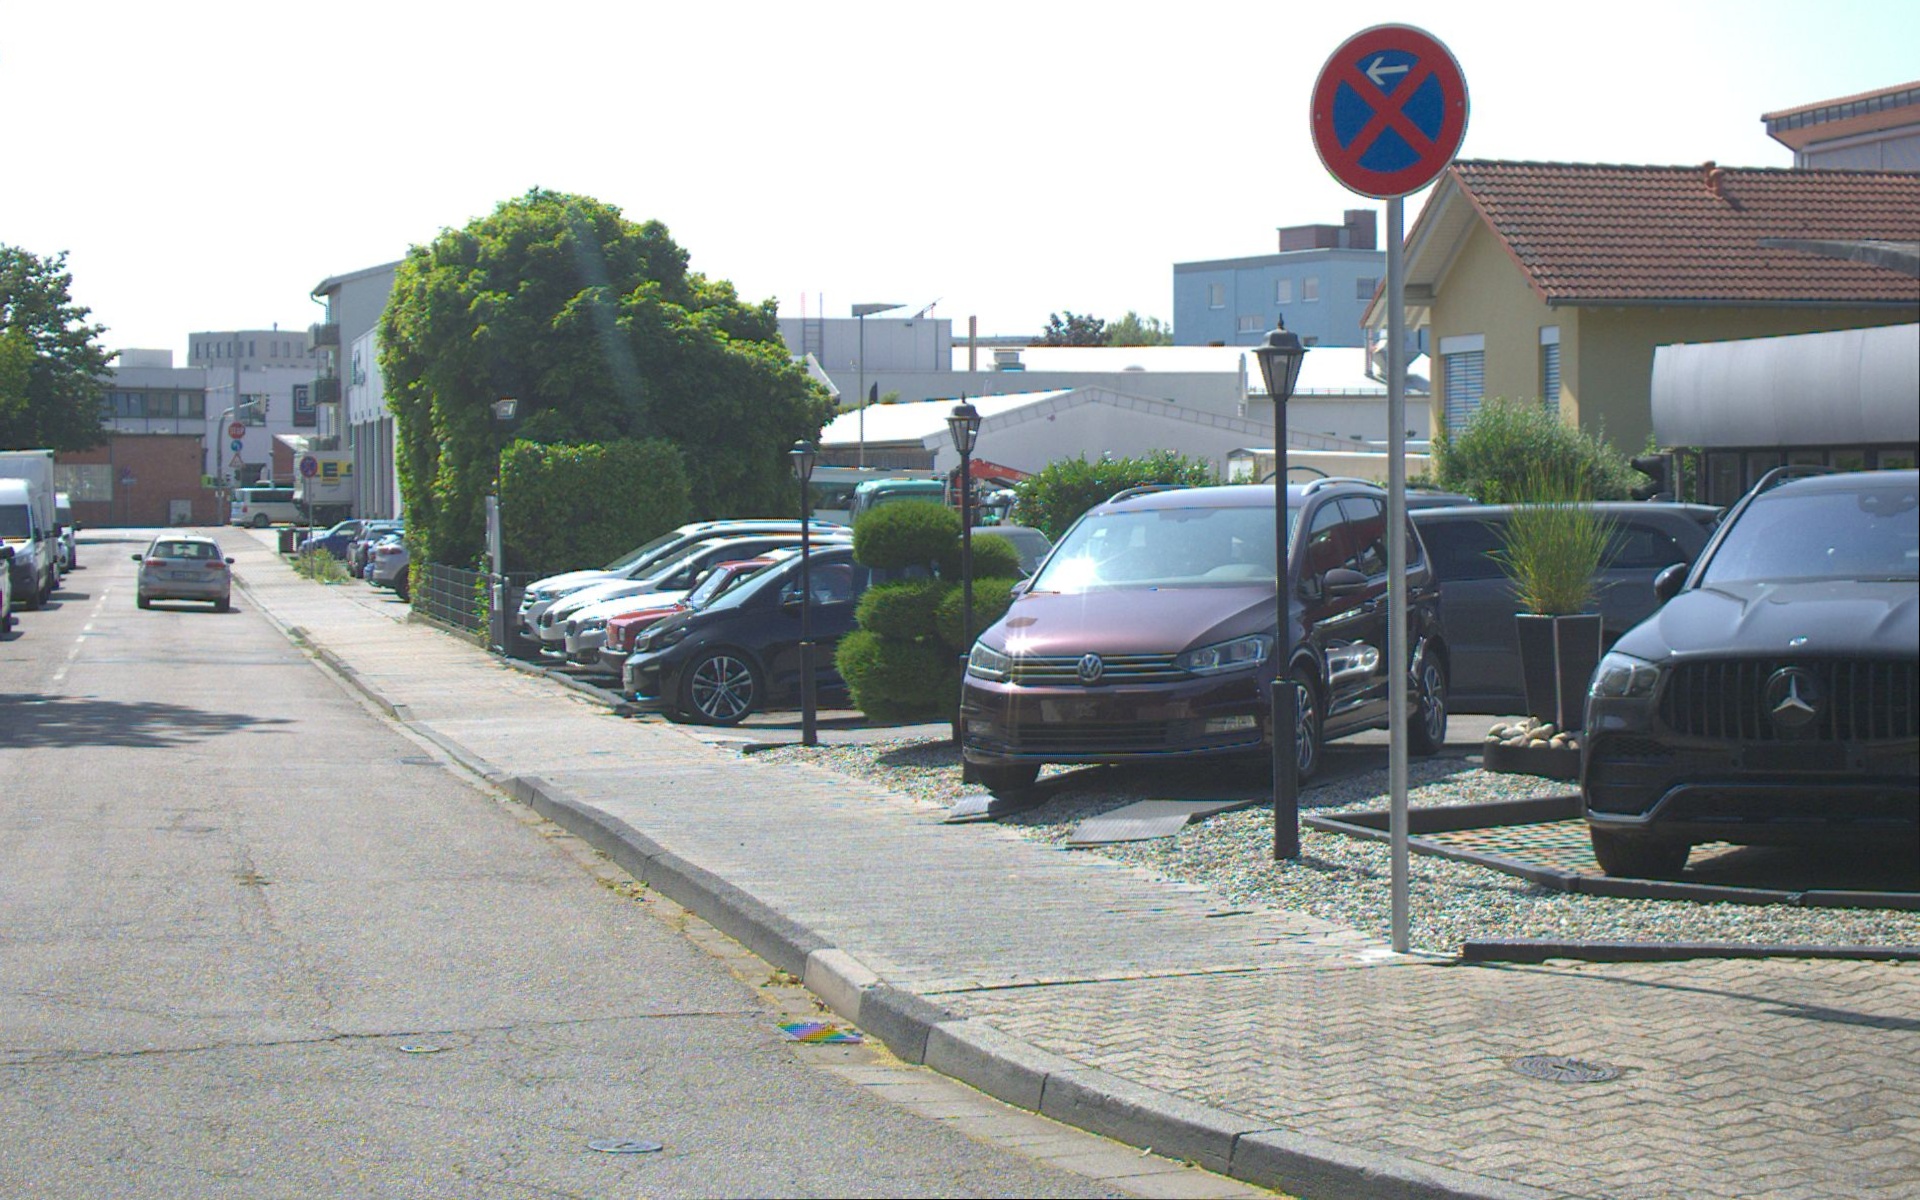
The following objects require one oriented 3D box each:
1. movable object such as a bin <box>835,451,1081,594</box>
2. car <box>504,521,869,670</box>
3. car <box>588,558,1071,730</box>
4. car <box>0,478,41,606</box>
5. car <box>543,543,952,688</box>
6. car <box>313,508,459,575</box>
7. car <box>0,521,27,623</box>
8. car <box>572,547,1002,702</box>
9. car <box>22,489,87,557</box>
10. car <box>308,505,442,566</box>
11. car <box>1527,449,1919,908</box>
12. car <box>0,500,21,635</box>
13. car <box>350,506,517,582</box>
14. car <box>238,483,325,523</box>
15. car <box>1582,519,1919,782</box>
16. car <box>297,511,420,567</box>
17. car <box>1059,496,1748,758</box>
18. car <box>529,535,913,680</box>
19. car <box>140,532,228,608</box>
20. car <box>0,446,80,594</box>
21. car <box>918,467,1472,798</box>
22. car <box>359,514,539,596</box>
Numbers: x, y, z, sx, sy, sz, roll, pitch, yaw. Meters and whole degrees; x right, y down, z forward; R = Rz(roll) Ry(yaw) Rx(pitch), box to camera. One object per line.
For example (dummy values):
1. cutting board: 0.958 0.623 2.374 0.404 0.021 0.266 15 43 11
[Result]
1. movable object such as a bin: -0.060 -1.604 71.182 4.816 2.897 2.001 0 1 -10
2. car: -3.361 -0.085 42.030 4.157 1.744 1.893 0 1 -15
3. car: -1.224 0.367 31.653 4.118 1.484 1.871 0 1 -15
4. car: -19.458 -1.166 68.910 1.831 2.495 4.001 0 1 -13
5. car: -2.314 0.133 37.063 4.105 1.484 1.871 0 1 -15
6. car: -15.593 -1.600 93.374 3.827 1.757 1.783 0 1 -12
7. car: -16.944 -0.498 58.626 1.831 1.686 4.001 0 1 -13
8. car: -1.771 0.219 34.727 4.044 1.484 1.799 0 1 -15
9. car: -28.397 -2.412 107.899 1.831 2.111 4.001 0 1 -13
10. car: -17.420 -1.911 102.312 3.827 1.757 1.783 0 1 -12
11. car: 4.058 0.301 14.886 2.045 1.701 4.309 0 0 25
12. car: -15.945 -0.506 54.174 2.033 2.049 4.001 0 1 -13
13. car: -12.587 -1.338 82.156 3.827 1.757 1.783 0 1 -12
14. car: -33.326 -4.777 168.832 3.986 1.902 1.815 0 3 -19
15. car: 6.570 0.253 22.778 4.671 1.569 1.915 -1 2 -29
16. car: -19.593 -1.999 111.988 3.859 1.757 1.825 0 1 -12
17. car: 3.313 0.165 25.577 4.878 1.836 2.162 0 1 11
18. car: -2.773 0.052 39.546 4.111 1.597 1.871 0 1 -15
19. car: -15.789 -0.639 70.028 1.677 1.488 4.607 0 1 -12
20. car: -22.076 -1.849 80.186 2.805 3.305 7.785 0 1 -13
21. car: 1.461 0.132 19.447 1.806 1.650 4.310 -1 1 23
22. car: -11.349 -1.005 76.257 3.827 1.757 1.856 0 1 -12
